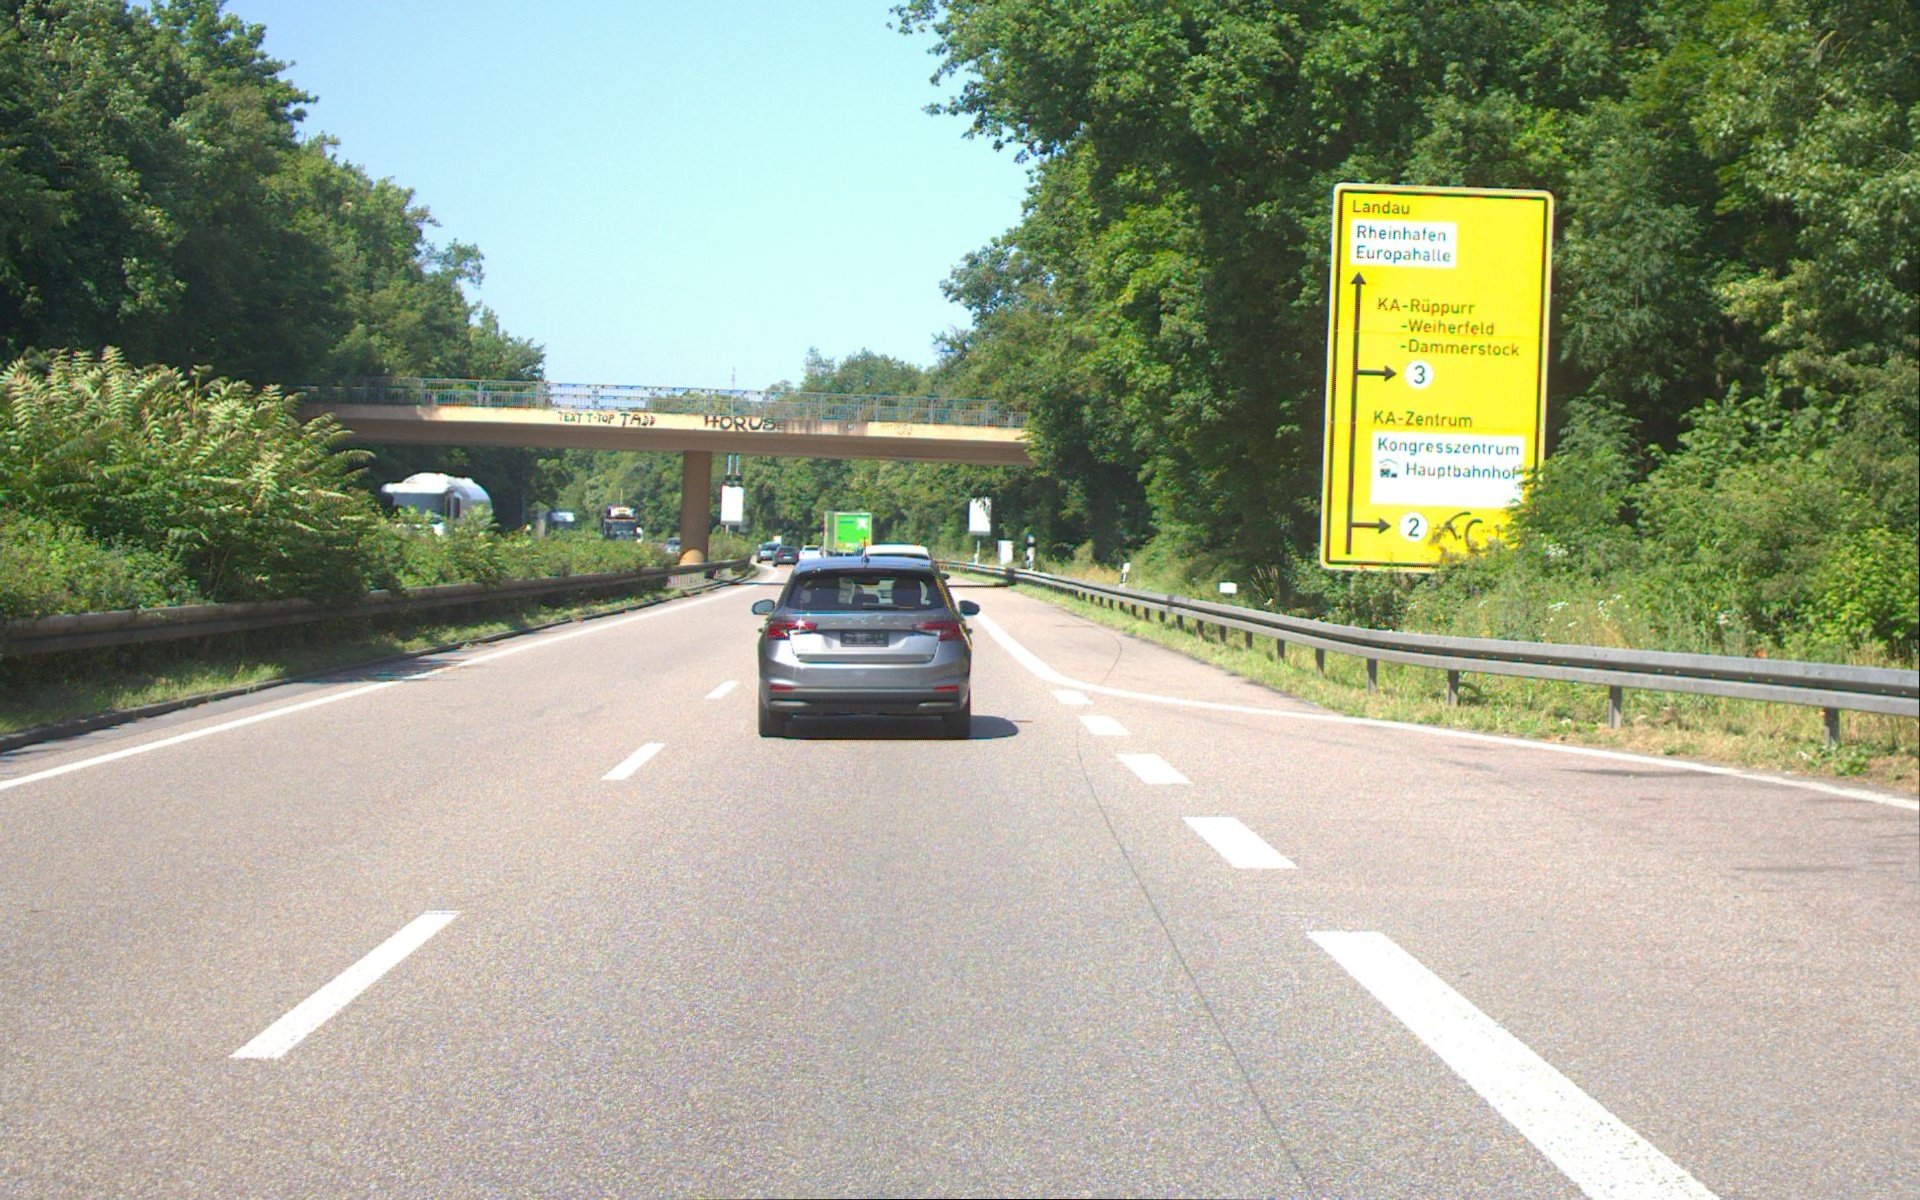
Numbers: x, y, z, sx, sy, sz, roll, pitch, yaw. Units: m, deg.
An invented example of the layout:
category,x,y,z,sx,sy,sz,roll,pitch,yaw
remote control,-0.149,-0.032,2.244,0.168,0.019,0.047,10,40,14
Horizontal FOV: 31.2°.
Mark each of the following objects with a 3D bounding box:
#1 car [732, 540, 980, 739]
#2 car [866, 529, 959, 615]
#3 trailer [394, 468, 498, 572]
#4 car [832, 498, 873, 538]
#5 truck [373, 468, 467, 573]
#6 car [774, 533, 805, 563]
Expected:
category,x,y,z,sx,sy,sz,roll,pitch,yaw
car,-0.783,0.271,28.083,1.840,1.467,3.623,1,1,1
car,-0.821,-0.522,61.003,1.522,1.442,3.340,1,1,1
trailer,-17.731,-2.737,119.187,1.993,3.390,11.420,1,1,-1
car,-7.490,-5.688,239.206,2.748,2.645,4.000,1,1,-1
truck,-17.640,-2.587,112.465,2.338,3.330,4.542,1,1,-1
car,-11.918,-3.628,240.014,1.993,2.007,4.000,1,1,-1
